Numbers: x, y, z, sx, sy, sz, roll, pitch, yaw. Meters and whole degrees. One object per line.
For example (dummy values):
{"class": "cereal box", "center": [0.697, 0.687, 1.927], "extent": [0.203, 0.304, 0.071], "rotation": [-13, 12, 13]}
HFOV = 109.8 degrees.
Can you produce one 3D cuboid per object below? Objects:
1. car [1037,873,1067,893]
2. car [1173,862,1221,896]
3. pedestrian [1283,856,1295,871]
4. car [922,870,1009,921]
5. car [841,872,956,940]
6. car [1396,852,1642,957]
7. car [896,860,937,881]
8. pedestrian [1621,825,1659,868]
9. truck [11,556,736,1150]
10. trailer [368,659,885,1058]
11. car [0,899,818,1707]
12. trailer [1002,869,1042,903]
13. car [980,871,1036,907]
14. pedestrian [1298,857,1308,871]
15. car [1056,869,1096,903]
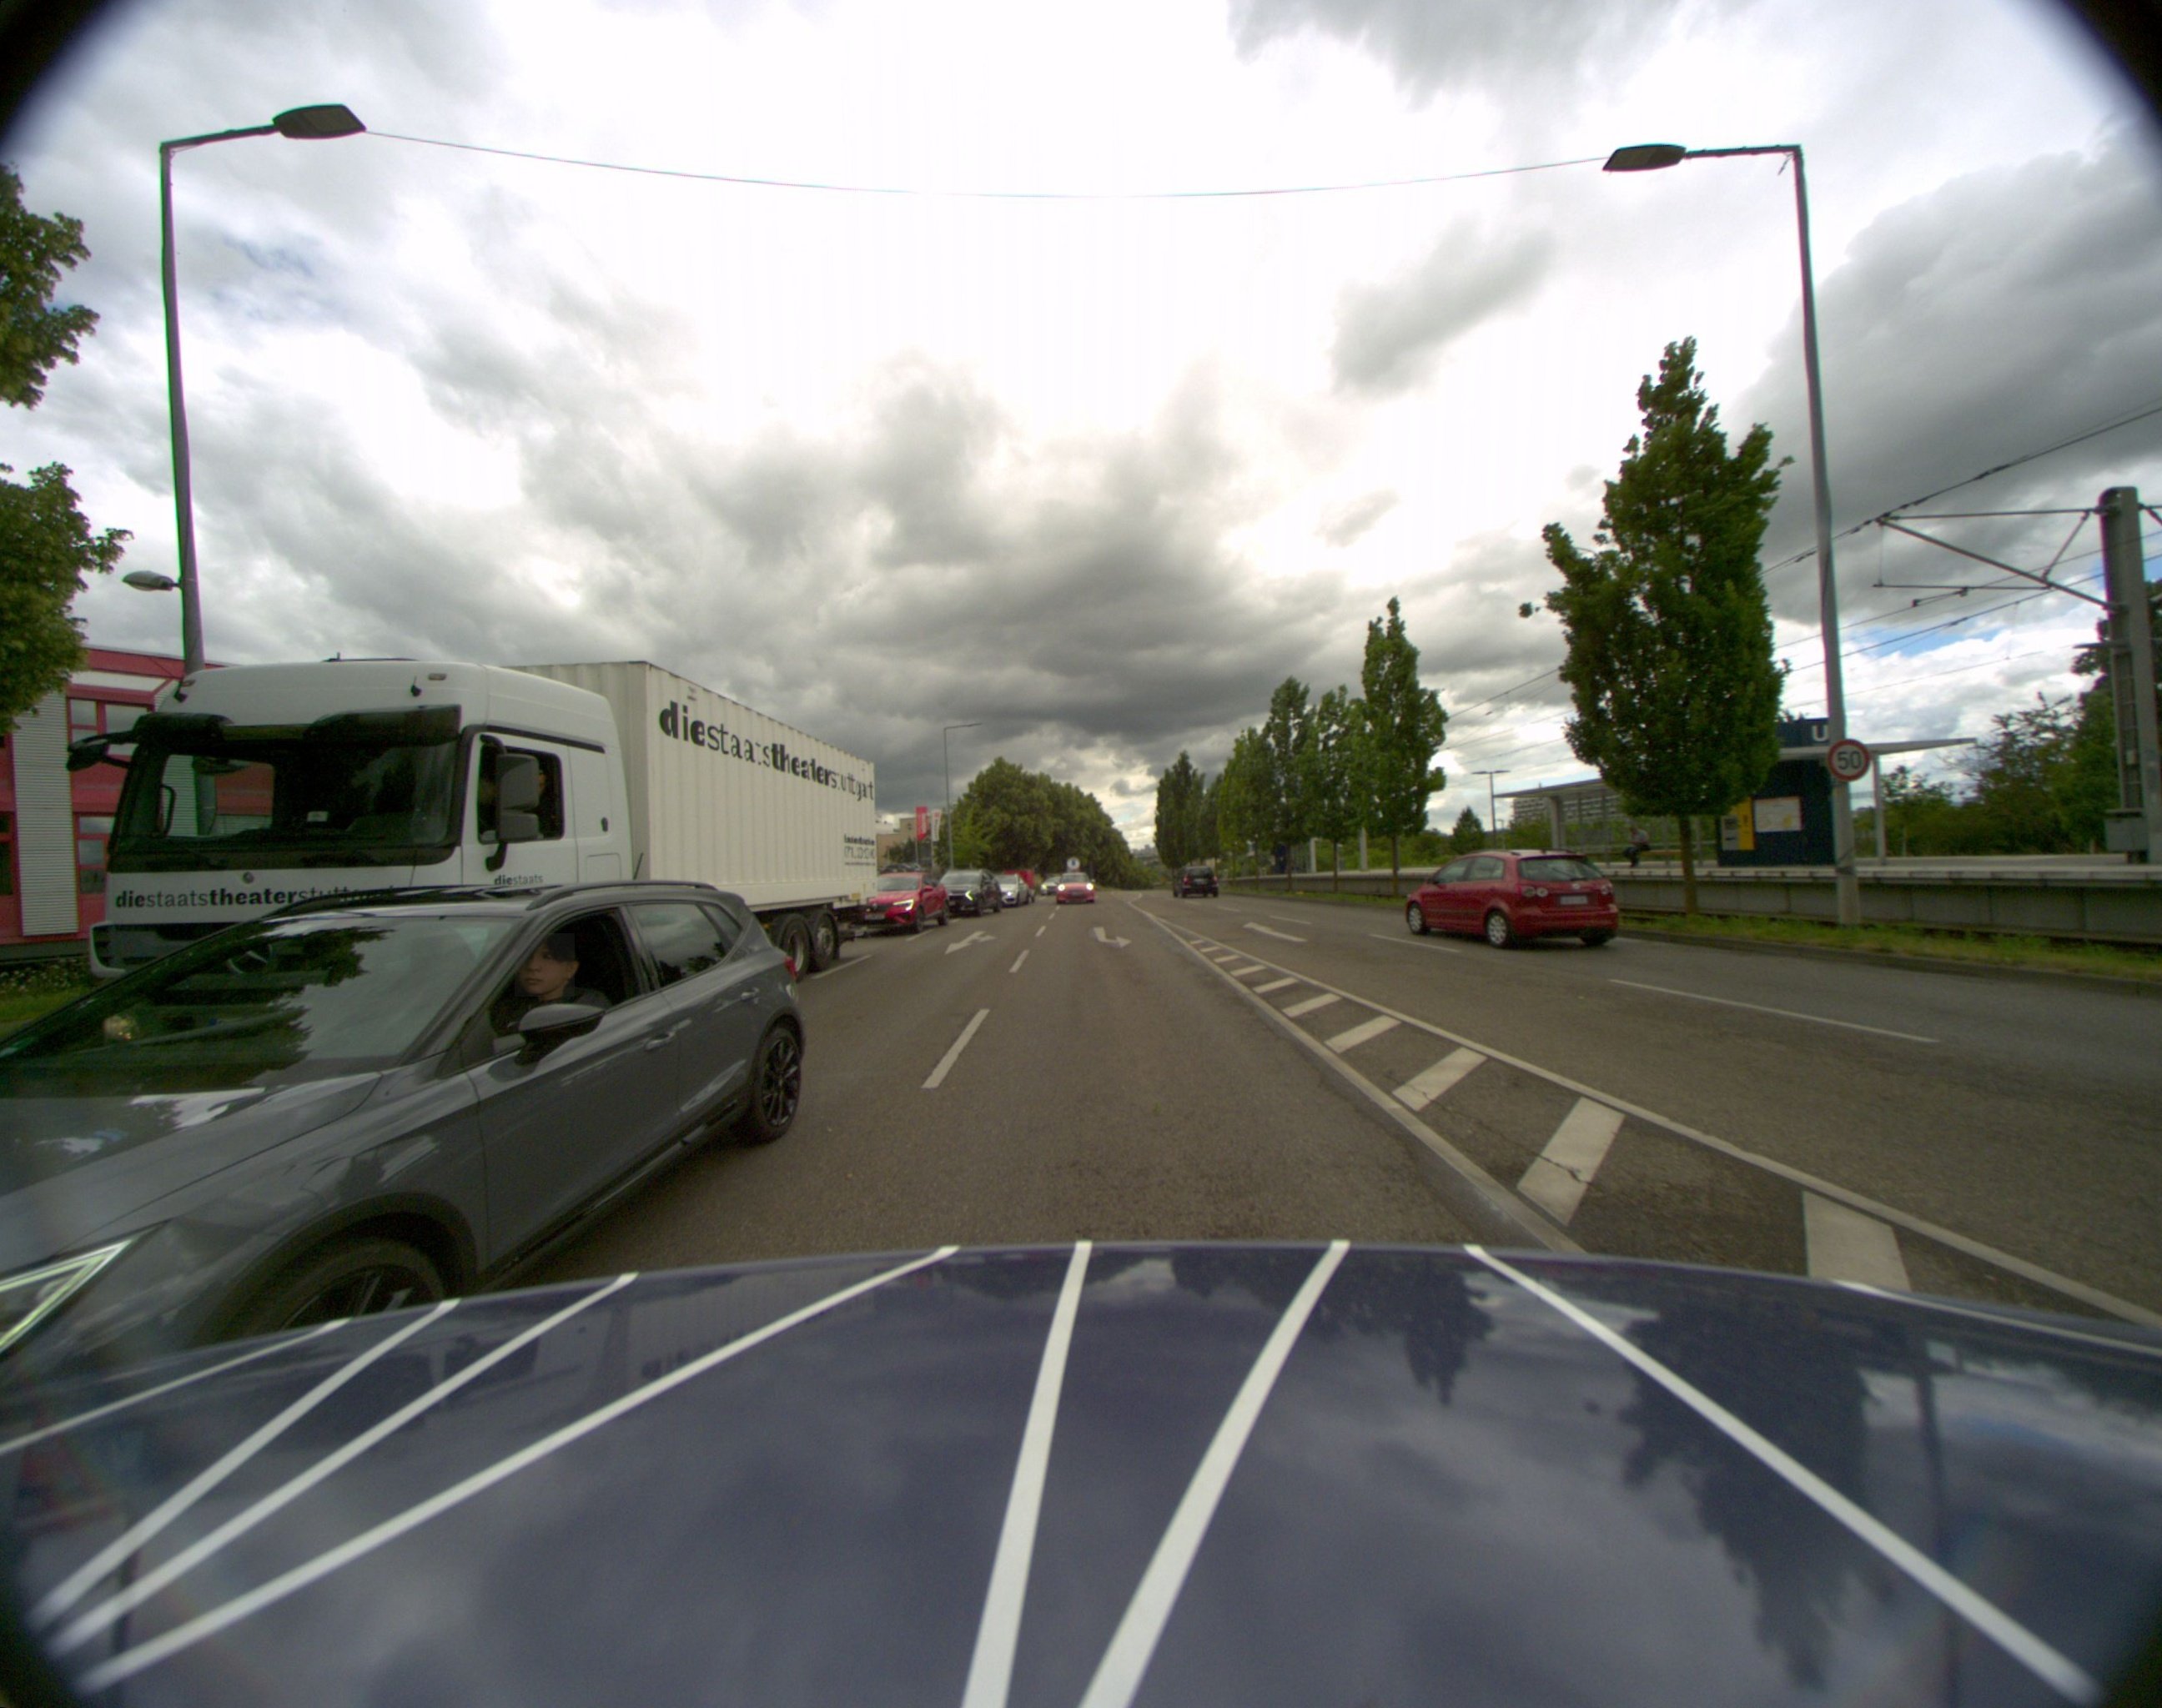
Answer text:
{"class": "car", "center": [-2.102, 2.141, 55.880], "extent": [1.739, 1.365, 4.003], "rotation": [-2, -3, 5]}
{"class": "car", "center": [5.780, 1.206, 38.263], "extent": [1.730, 1.564, 3.707], "rotation": [-2, -1, -1]}
{"class": "pedestrian", "center": [16.555, 0.748, 60.409], "extent": [0.763, 1.192, 0.665], "rotation": [-2, -1, 0]}
{"class": "car", "center": [-3.993, 1.396, 27.020], "extent": [1.848, 1.552, 4.407], "rotation": [-2, -1, 7]}
{"class": "car", "center": [-4.734, 1.306, 20.406], "extent": [1.711, 1.515, 4.321], "rotation": [-2, -1, 4]}
{"class": "car", "center": [7.252, 0.775, 13.142], "extent": [1.707, 1.479, 4.086], "rotation": [-2, -1, -3]}
{"class": "car", "center": [-17.307, 1.706, 79.869], "extent": [3.762, 1.946, 1.645], "rotation": [-3, -3, 10]}
{"class": "pedestrian", "center": [17.521, -0.227, 23.820], "extent": [0.611, 1.261, 0.660], "rotation": [-2, -3, -4]}
{"class": "truck", "center": [-5.439, 0.043, 6.864], "extent": [2.577, 3.683, 4.107], "rotation": [-2, -1, 2]}
{"class": "trailer", "center": [-5.300, 0.105, 11.045], "extent": [2.572, 3.683, 7.766], "rotation": [-2, -1, 2]}
{"class": "car", "center": [-2.658, 1.045, 2.939], "extent": [1.702, 1.477, 4.001], "rotation": [-2, 0, 2]}
{"class": "trailer", "center": [-2.899, 1.581, 37.829], "extent": [1.412, 1.584, 3.305], "rotation": [-2, -1, 5]}
{"class": "car", "center": [-3.198, 1.513, 33.942], "extent": [1.675, 1.439, 4.491], "rotation": [-2, -1, 5]}
{"class": "pedestrian", "center": [17.389, 0.759, 59.415], "extent": [0.608, 1.072, 0.470], "rotation": [-2, -2, 0]}
{"class": "car", "center": [-0.209, 1.460, 35.481], "extent": [1.723, 1.448, 3.697], "rotation": [-2, -1, 1]}
